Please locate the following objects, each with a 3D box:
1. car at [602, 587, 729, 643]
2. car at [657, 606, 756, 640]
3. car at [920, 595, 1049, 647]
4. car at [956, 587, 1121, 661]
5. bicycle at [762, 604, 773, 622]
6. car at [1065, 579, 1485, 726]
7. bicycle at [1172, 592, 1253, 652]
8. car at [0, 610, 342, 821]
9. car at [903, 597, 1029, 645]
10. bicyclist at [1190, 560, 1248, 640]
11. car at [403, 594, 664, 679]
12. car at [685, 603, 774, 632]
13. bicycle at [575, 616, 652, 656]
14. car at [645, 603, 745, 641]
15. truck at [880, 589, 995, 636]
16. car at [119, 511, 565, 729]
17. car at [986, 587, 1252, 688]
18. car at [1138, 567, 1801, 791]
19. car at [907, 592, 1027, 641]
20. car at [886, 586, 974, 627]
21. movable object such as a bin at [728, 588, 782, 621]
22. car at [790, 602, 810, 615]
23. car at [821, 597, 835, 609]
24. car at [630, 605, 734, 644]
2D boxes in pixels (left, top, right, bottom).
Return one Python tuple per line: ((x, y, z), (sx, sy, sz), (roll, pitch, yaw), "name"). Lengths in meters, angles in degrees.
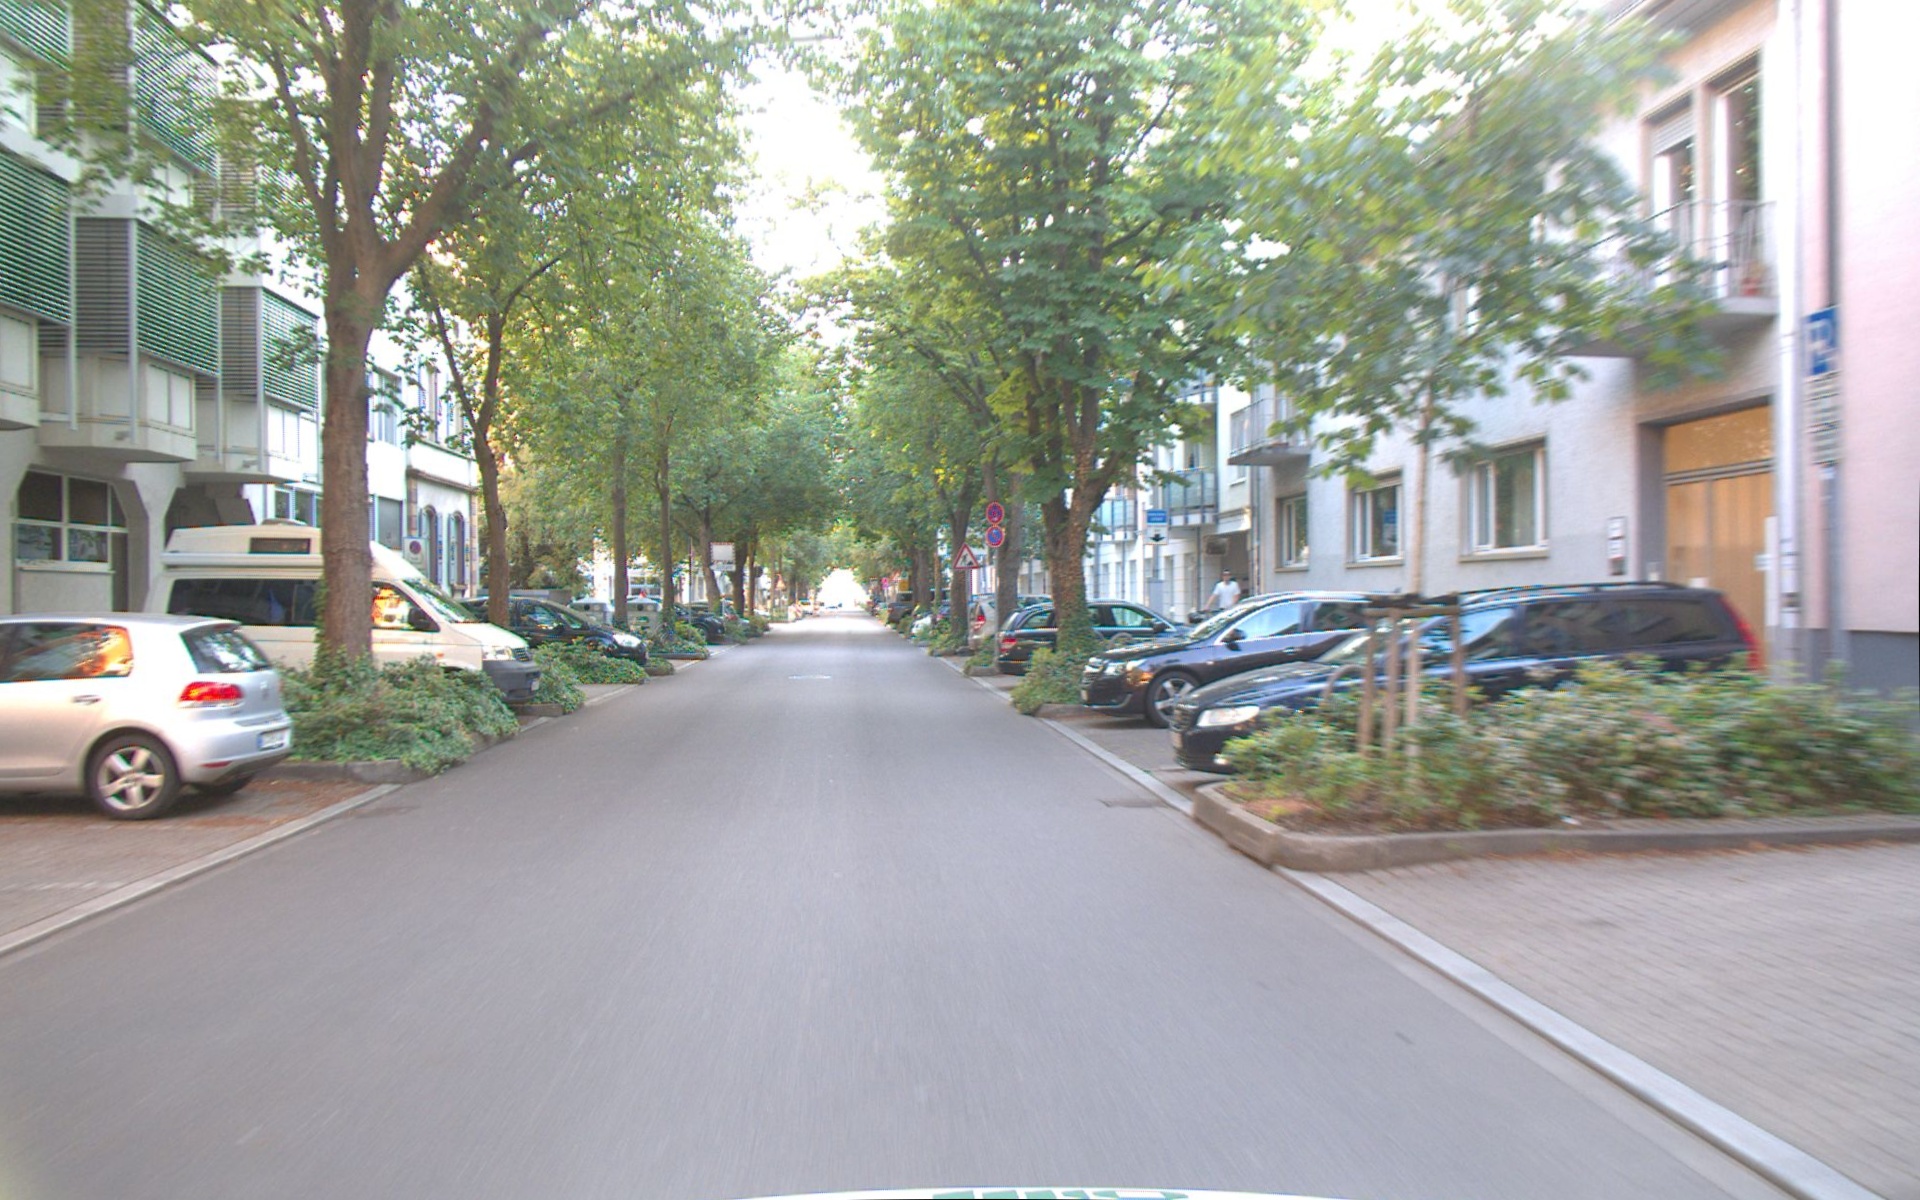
((-10.692, 0.550, 60.316), (4.418, 1.989, 1.997), (0, 0, -6), "car")
((-11.176, 1.004, 73.201), (4.203, 1.455, 1.877), (0, 0, -5), "car")
((0.809, 0.691, 55.934), (4.009, 1.476, 1.930), (-4, 0, -10), "car")
((1.956, 0.595, 41.943), (3.892, 1.613, 1.914), (-3, 0, -5), "car")
((-13.098, 0.873, 112.340), (0.670, 1.173, 1.977), (0, 0, -9), "bicycle")
((3.690, 0.596, 19.959), (4.585, 1.412, 1.999), (-3, 0, -3), "car")
((5.215, 0.439, 34.424), (0.609, 1.184, 3.393), (-1, 0, -10), "bicycle")
((-7.209, 0.845, 12.866), (4.085, 1.494, 1.951), (0, 0, -4), "car")
((0.209, 0.777, 61.770), (4.511, 1.493, 1.794), (-3, 0, -5), "car")
((5.423, -0.001, 34.660), (0.951, 1.632, 1.135), (-1, 0, -5), "bicyclist")
((-8.531, 0.718, 33.460), (4.756, 1.650, 2.159), (0, 0, -4), "car")
((-12.384, 0.936, 89.019), (4.526, 1.579, 2.074), (0, 0, -2), "car")
((-7.466, 0.772, 35.675), (1.521, 0.845, 0.613), (0, 0, -1), "bicycle")
((-11.280, 0.936, 70.559), (3.905, 1.593, 1.929), (0, 0, 1), "car")
((-1.187, 0.631, 85.080), (5.771, 2.351, 2.211), (0, 0, -4), "truck")
((-7.706, 0.223, 21.084), (4.905, 2.618, 2.119), (0, 0, -5), "car")
((2.685, 0.636, 28.772), (4.368, 1.452, 2.011), (-3, 0, 0), "car")
((3.979, 0.592, 13.525), (4.743, 1.473, 2.041), (-3, 0, -2), "car")
((0.258, 0.652, 67.113), (4.556, 1.645, 2.006), (-4, 0, -8), "car")
((-1.593, 0.333, 87.799), (4.511, 2.102, 2.195), (-1, 0, -6), "car")
((-15.691, 0.342, 126.705), (3.972, 2.425, 2.778), (-1, 0, -10), "movable object such as a bin")
((-16.614, 0.877, 171.544), (1.956, 1.311, 3.992), (0, 0, -8), "car")
((-18.484, 0.388, 231.672), (1.971, 1.641, 4.115), (0, 1, -6), "car")
((-10.971, 0.960, 65.524), (3.910, 1.489, 1.920), (0, 0, -6), "car")
